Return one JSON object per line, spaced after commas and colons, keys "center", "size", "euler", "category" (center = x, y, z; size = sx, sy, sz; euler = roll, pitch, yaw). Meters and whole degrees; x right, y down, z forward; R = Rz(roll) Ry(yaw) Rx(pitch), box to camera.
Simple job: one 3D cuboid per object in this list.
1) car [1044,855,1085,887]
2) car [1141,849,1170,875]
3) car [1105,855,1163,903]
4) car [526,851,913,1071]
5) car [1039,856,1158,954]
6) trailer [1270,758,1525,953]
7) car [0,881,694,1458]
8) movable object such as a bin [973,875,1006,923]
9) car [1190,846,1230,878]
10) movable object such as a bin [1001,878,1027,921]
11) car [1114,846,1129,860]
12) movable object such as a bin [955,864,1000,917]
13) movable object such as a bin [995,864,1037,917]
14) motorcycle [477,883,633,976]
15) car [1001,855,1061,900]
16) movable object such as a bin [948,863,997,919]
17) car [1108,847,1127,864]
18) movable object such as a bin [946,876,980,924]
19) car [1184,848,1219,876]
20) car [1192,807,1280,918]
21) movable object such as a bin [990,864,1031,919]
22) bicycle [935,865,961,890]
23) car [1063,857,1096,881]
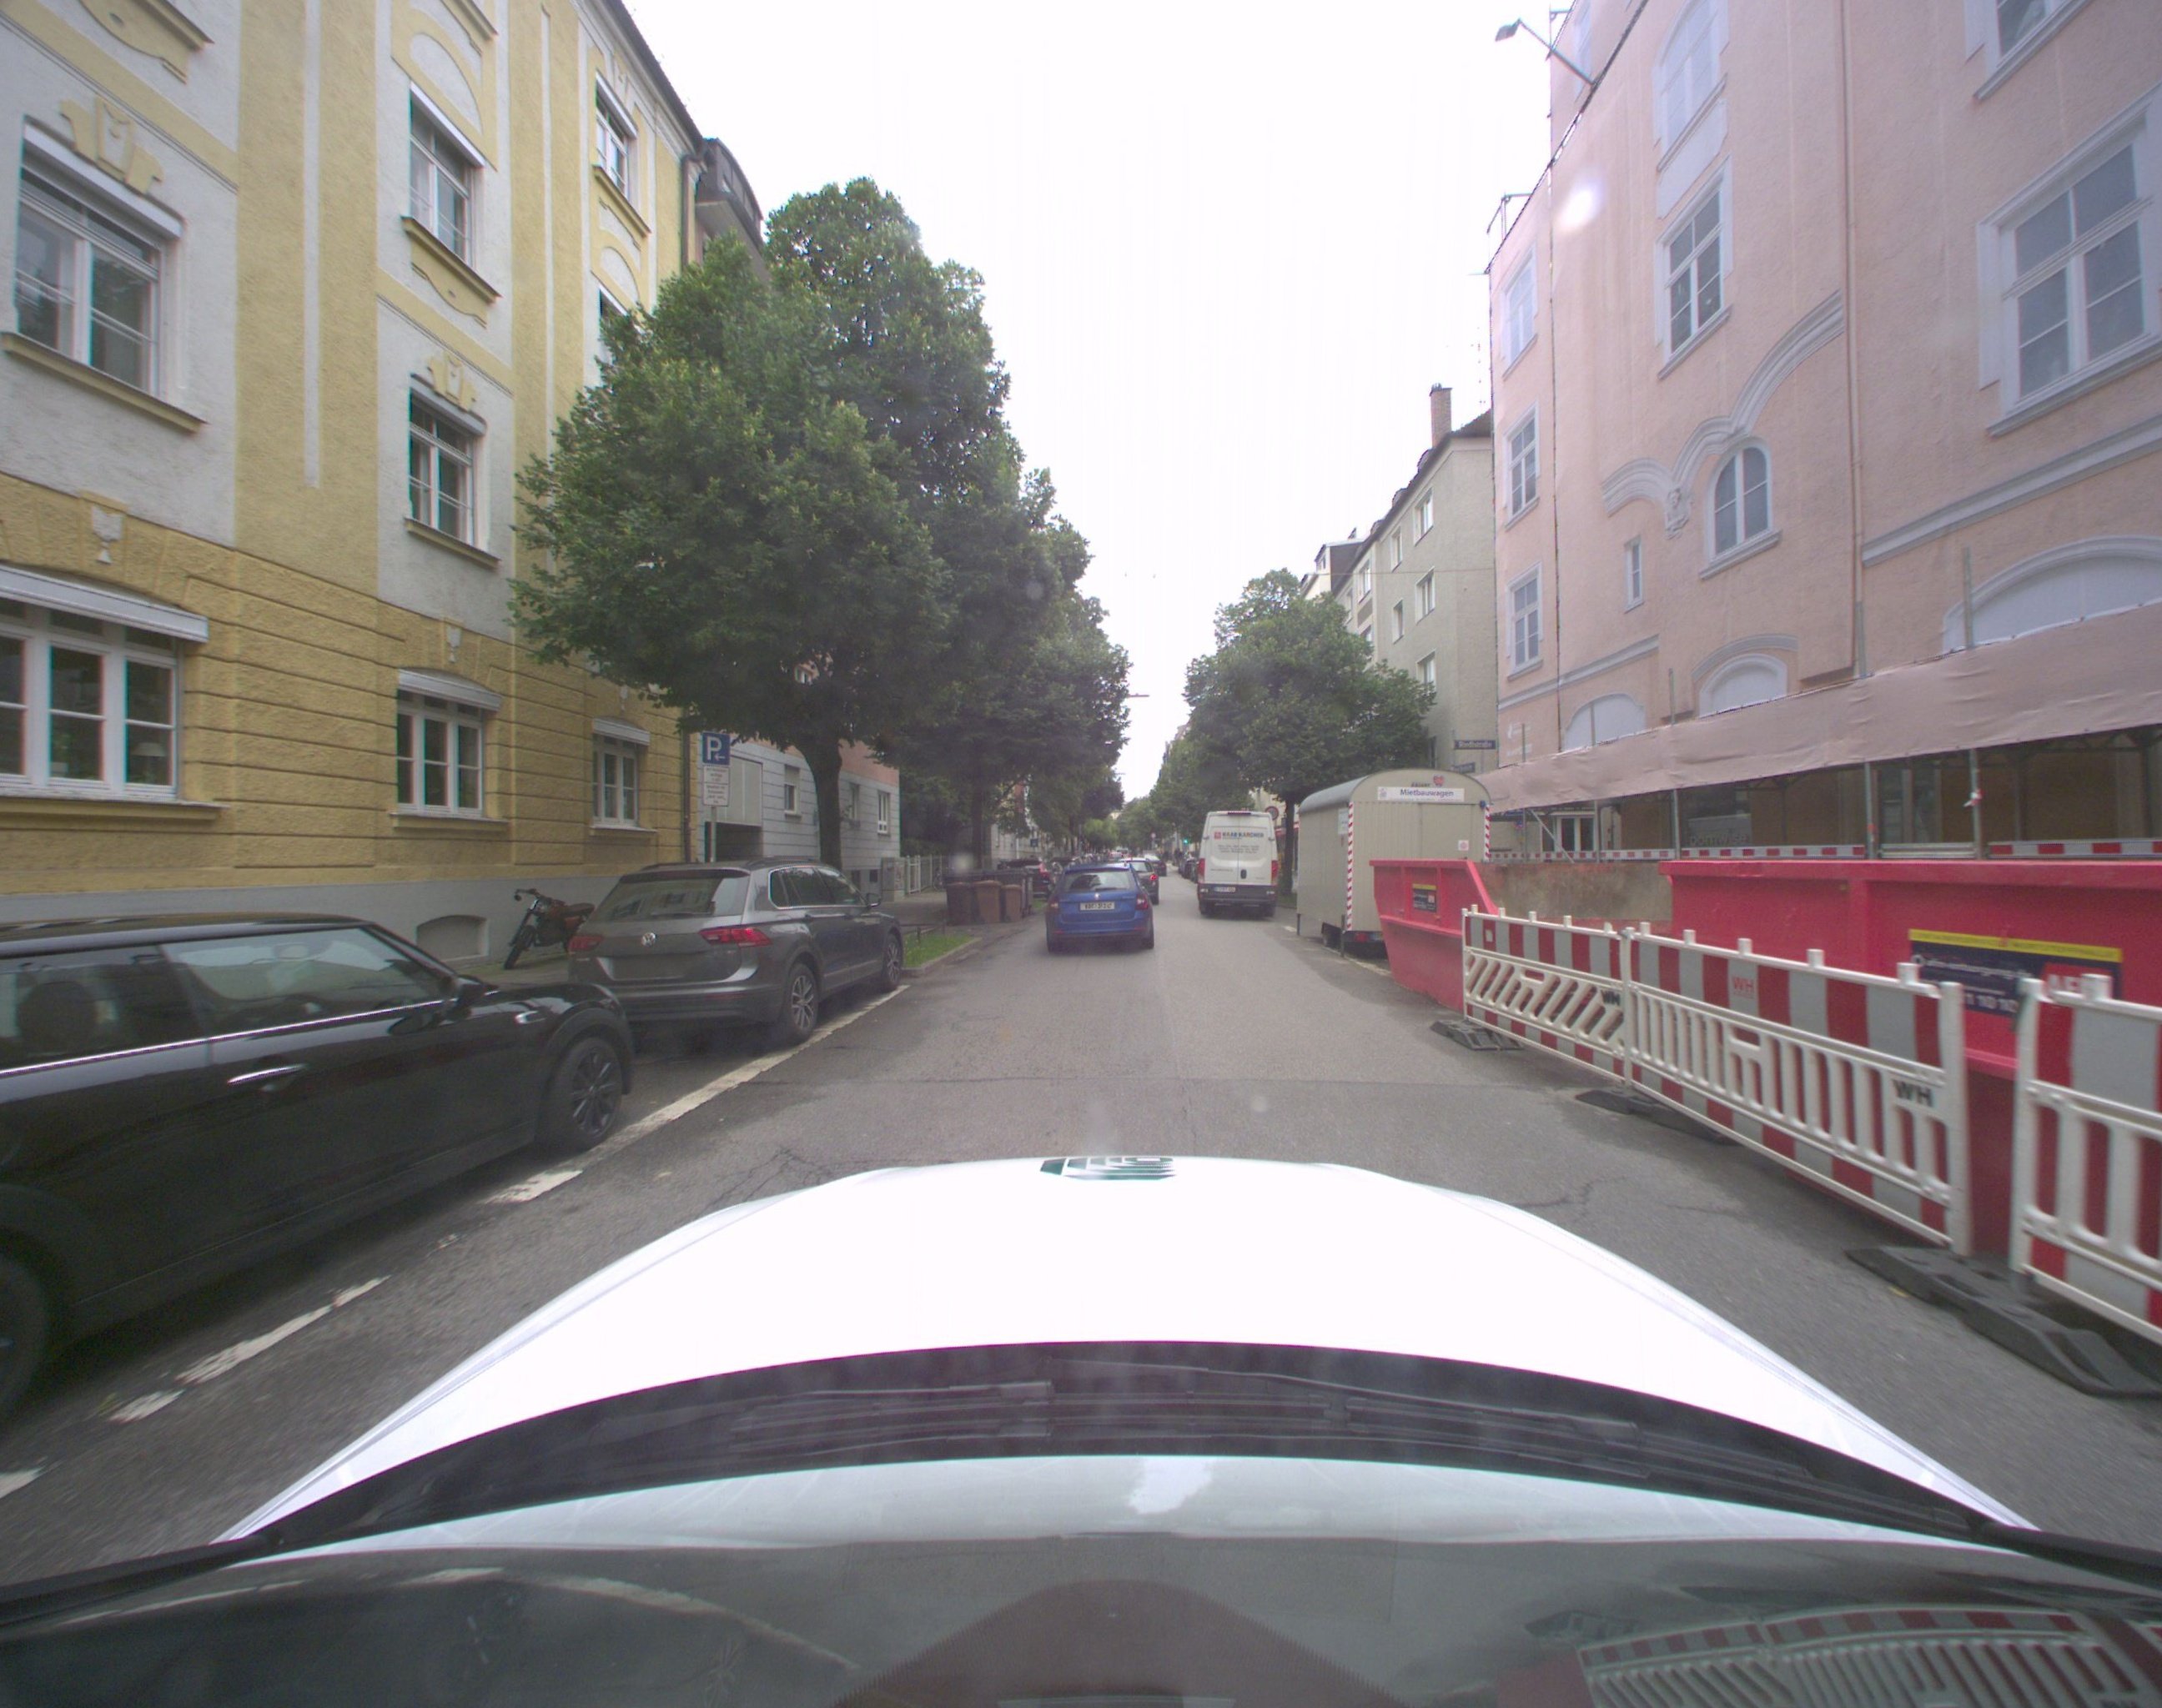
{"center": [-0.763, 0.800, 40.110], "size": [1.805, 1.478, 4.001], "euler": [0, 0, 1], "category": "car"}
{"center": [5.101, 0.520, 56.236], "size": [1.860, 1.696, 4.351], "euler": [0, 0, 3], "category": "car"}
{"center": [1.784, 0.786, 26.632], "size": [1.733, 1.422, 3.669], "euler": [-1, -1, 5], "category": "car"}
{"center": [-3.199, 0.822, 8.297], "size": [1.777, 1.628, 4.190], "euler": [-2, 0, 4], "category": "car"}
{"center": [0.387, 0.792, 14.562], "size": [1.781, 1.460, 4.318], "euler": [-1, 0, 3], "category": "car"}
{"center": [5.410, 0.055, 15.340], "size": [2.491, 2.840, 6.907], "euler": [0, -1, 3], "category": "trailer"}
{"center": [-3.536, 0.892, 3.495], "size": [1.691, 1.409, 3.713], "euler": [-2, -1, 5], "category": "car"}
{"center": [-2.318, 1.132, 20.675], "size": [0.709, 1.148, 0.636], "euler": [-3, 0, 0], "category": "movable object such as a bin"}
{"center": [7.283, 0.427, 46.216], "size": [1.817, 1.727, 4.003], "euler": [-2, 0, 3], "category": "car"}
{"center": [-1.699, 1.141, 20.708], "size": [0.545, 1.020, 0.636], "euler": [-3, 0, 0], "category": "movable object such as a bin"}
{"center": [5.265, -0.154, 105.860], "size": [1.859, 1.870, 4.351], "euler": [0, 0, 3], "category": "car"}
{"center": [-2.858, 0.992, 22.635], "size": [1.054, 1.376, 1.095], "euler": [-3, 0, -1], "category": "movable object such as a bin"}
{"center": [-1.802, 0.995, 22.669], "size": [1.017, 1.376, 1.103], "euler": [-3, 0, -1], "category": "movable object such as a bin"}
{"center": [-7.650, 1.052, 12.024], "size": [0.636, 1.127, 2.430], "euler": [-2, 0, 2], "category": "motorcycle"}
{"center": [-1.726, 0.806, 29.401], "size": [1.805, 1.478, 4.001], "euler": [0, 0, 1], "category": "car"}
{"center": [-2.853, 0.964, 21.533], "size": [1.078, 1.376, 1.083], "euler": [-3, 0, -1], "category": "movable object such as a bin"}
{"center": [3.710, 0.136, 81.718], "size": [1.859, 1.696, 4.351], "euler": [0, 0, 3], "category": "car"}
{"center": [-2.985, 1.168, 20.649], "size": [0.718, 1.138, 0.658], "euler": [-3, 0, 0], "category": "movable object such as a bin"}
{"center": [7.695, 0.494, 52.426], "size": [1.817, 1.727, 4.003], "euler": [-2, 0, 3], "category": "car"}
{"center": [4.210, 0.229, 22.501], "size": [2.100, 2.664, 5.514], "euler": [0, -1, 9], "category": "car"}
{"center": [-1.857, 0.977, 21.572], "size": [0.915, 1.376, 1.079], "euler": [-3, 0, -1], "category": "movable object such as a bin"}
{"center": [-6.198, 1.099, 38.028], "size": [0.632, 1.067, 2.390], "euler": [-2, 0, 4], "category": "bicycle"}
{"center": [-0.067, 0.932, 52.141], "size": [1.804, 1.478, 4.004], "euler": [0, 0, 3], "category": "car"}
